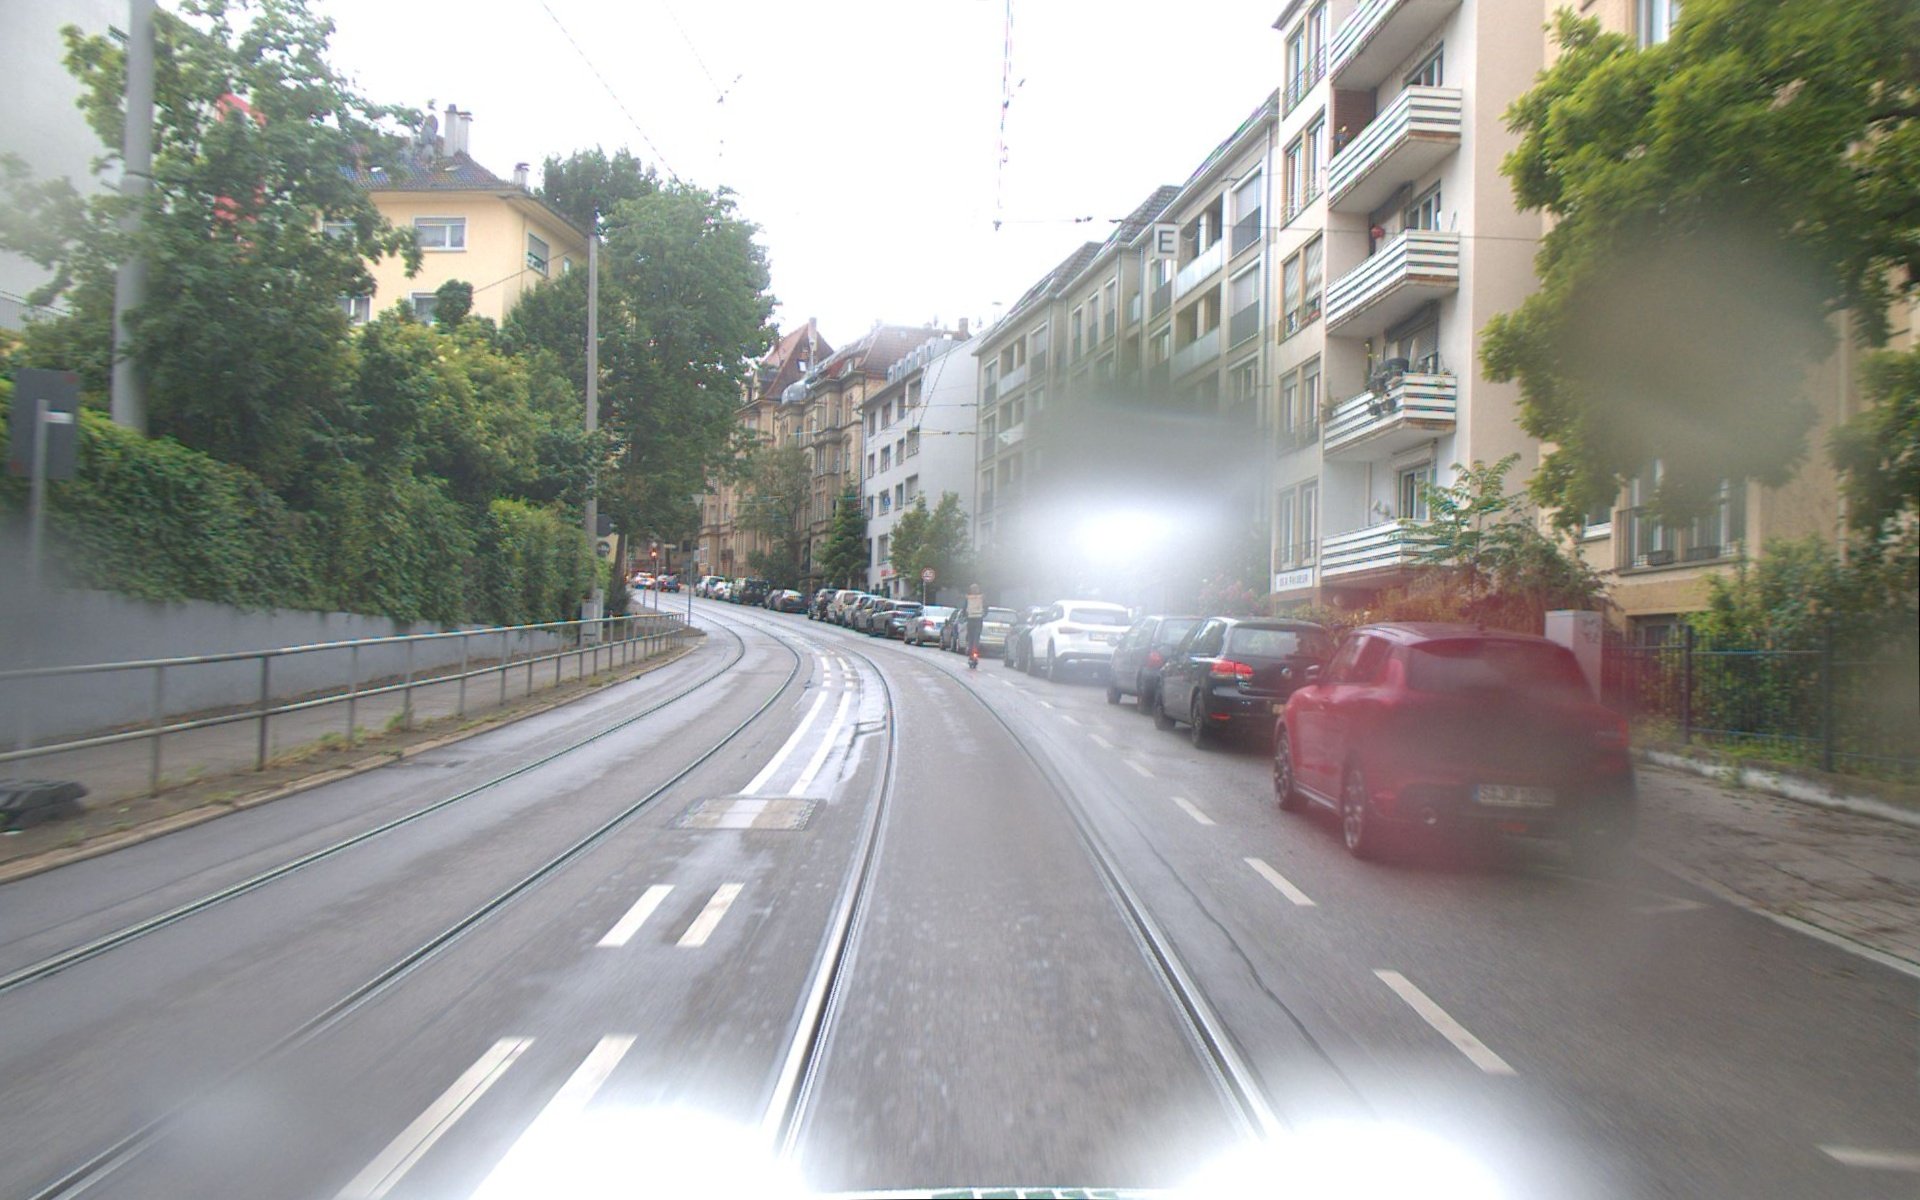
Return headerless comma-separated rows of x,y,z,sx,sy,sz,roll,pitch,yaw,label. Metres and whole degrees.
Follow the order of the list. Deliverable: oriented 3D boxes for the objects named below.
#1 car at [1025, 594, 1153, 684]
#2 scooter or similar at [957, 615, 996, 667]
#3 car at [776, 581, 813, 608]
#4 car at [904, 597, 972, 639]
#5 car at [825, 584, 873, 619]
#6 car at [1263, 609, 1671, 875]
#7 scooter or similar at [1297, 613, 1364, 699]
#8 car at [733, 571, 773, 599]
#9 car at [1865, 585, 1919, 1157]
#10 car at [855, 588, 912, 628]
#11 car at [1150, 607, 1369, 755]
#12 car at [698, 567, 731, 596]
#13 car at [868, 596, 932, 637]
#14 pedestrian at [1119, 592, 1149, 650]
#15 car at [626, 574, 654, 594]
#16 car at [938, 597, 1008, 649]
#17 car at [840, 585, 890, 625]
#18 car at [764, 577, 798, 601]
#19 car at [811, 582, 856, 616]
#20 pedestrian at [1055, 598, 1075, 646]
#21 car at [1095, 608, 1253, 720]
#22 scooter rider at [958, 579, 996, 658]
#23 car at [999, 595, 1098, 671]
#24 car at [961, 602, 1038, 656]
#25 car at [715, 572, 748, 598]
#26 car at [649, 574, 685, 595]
2.575,0.747,34.113,1.802,1.600,4.242,3,0,-6,car
0.364,0.923,37.518,0.504,1.067,2.004,4,0,-9,scooter or similar
-10.734,-0.380,106.800,1.737,1.544,4.124,3,1,-14,car
-0.871,0.649,61.783,1.730,1.460,4.627,1,0,-11,car
-6.006,0.067,88.949,1.737,1.713,4.231,3,1,-15,car
3.360,0.852,11.731,1.686,1.462,3.841,2,0,0,car
5.807,0.865,25.958,0.461,1.256,1.193,-1,2,-19,scooter or similar
-15.083,-1.083,120.461,1.997,1.856,4.345,3,1,-18,car
3.675,0.783,2.888,1.730,1.631,4.286,0,0,-2,car
-3.618,0.357,77.475,1.737,1.643,4.232,3,1,-15,car
3.413,0.871,19.574,1.649,1.462,4.062,2,0,-3,car
-20.224,-1.533,136.091,1.996,2.256,4.119,3,1,-18,car
-2.641,0.699,71.495,1.739,1.643,4.228,1,0,-17,car
4.856,0.578,46.243,0.559,1.569,0.926,-1,1,-13,pedestrian
-29.922,-1.513,154.447,1.830,1.764,4.114,3,1,-21,car
0.386,0.730,54.687,1.670,1.538,3.706,3,1,-9,car
-4.790,0.214,82.937,1.736,1.818,4.235,3,1,-13,car
-12.079,-0.758,111.652,1.623,1.562,3.872,-1,2,-16,car
-7.176,-0.071,93.481,1.737,1.713,4.232,3,1,-14,car
3.473,0.731,54.892,0.558,1.569,0.650,-1,1,-5,pedestrian
3.194,0.911,25.457,1.526,1.462,4.300,2,0,-4,car
0.378,0.413,37.421,0.611,1.735,0.842,4,0,-10,scooter rider
2.034,0.734,39.270,1.668,1.538,4.566,4,0,-5,car
1.138,0.853,50.037,1.630,1.497,4.500,3,-1,-7,car
-18.147,-1.195,131.382,1.995,1.856,4.122,3,1,-16,car
-26.442,-1.413,149.281,2.005,1.764,4.101,3,1,-29,car
